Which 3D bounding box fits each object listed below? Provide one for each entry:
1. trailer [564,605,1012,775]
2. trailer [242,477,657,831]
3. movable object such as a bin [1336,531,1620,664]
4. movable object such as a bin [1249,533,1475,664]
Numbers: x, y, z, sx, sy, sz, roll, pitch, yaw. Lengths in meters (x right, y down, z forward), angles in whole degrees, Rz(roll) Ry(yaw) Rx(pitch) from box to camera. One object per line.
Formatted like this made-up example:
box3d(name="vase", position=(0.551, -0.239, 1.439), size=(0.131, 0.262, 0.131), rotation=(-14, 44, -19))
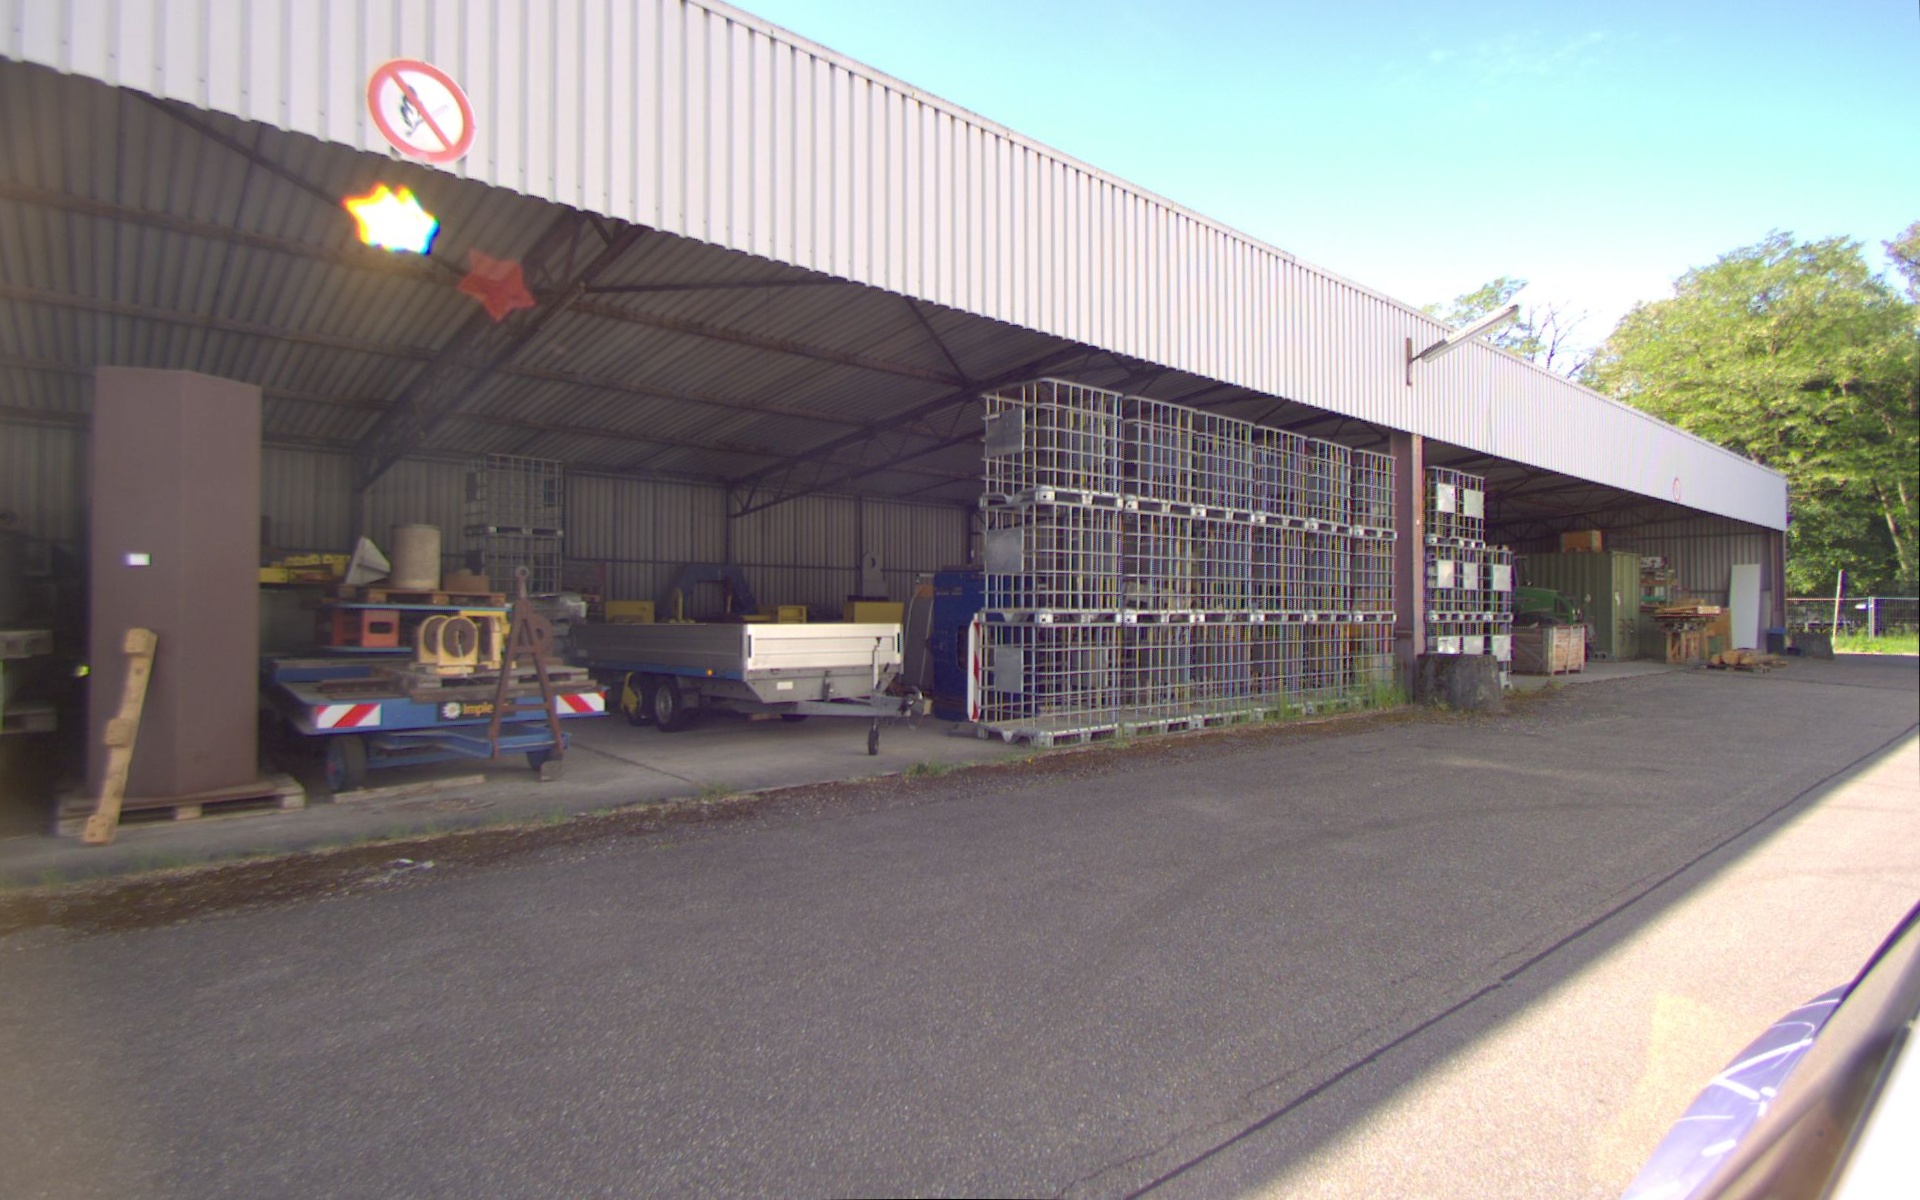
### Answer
box3d(name="trailer", position=(-2.143, 0.712, 10.649), size=(1.940, 1.200, 5.737), rotation=(0, 1, -41))
box3d(name="trailer", position=(-4.337, 0.274, 8.171), size=(2.124, 2.015, 4.433), rotation=(0, 1, -39))
box3d(name="movable object such as a bin", position=(12.959, -0.052, 25.709), size=(2.770, 2.962, 5.845), rotation=(1, -1, -40))
box3d(name="movable object such as a bin", position=(9.674, -0.024, 24.614), size=(2.452, 2.867, 4.535), rotation=(1, -1, -40))
